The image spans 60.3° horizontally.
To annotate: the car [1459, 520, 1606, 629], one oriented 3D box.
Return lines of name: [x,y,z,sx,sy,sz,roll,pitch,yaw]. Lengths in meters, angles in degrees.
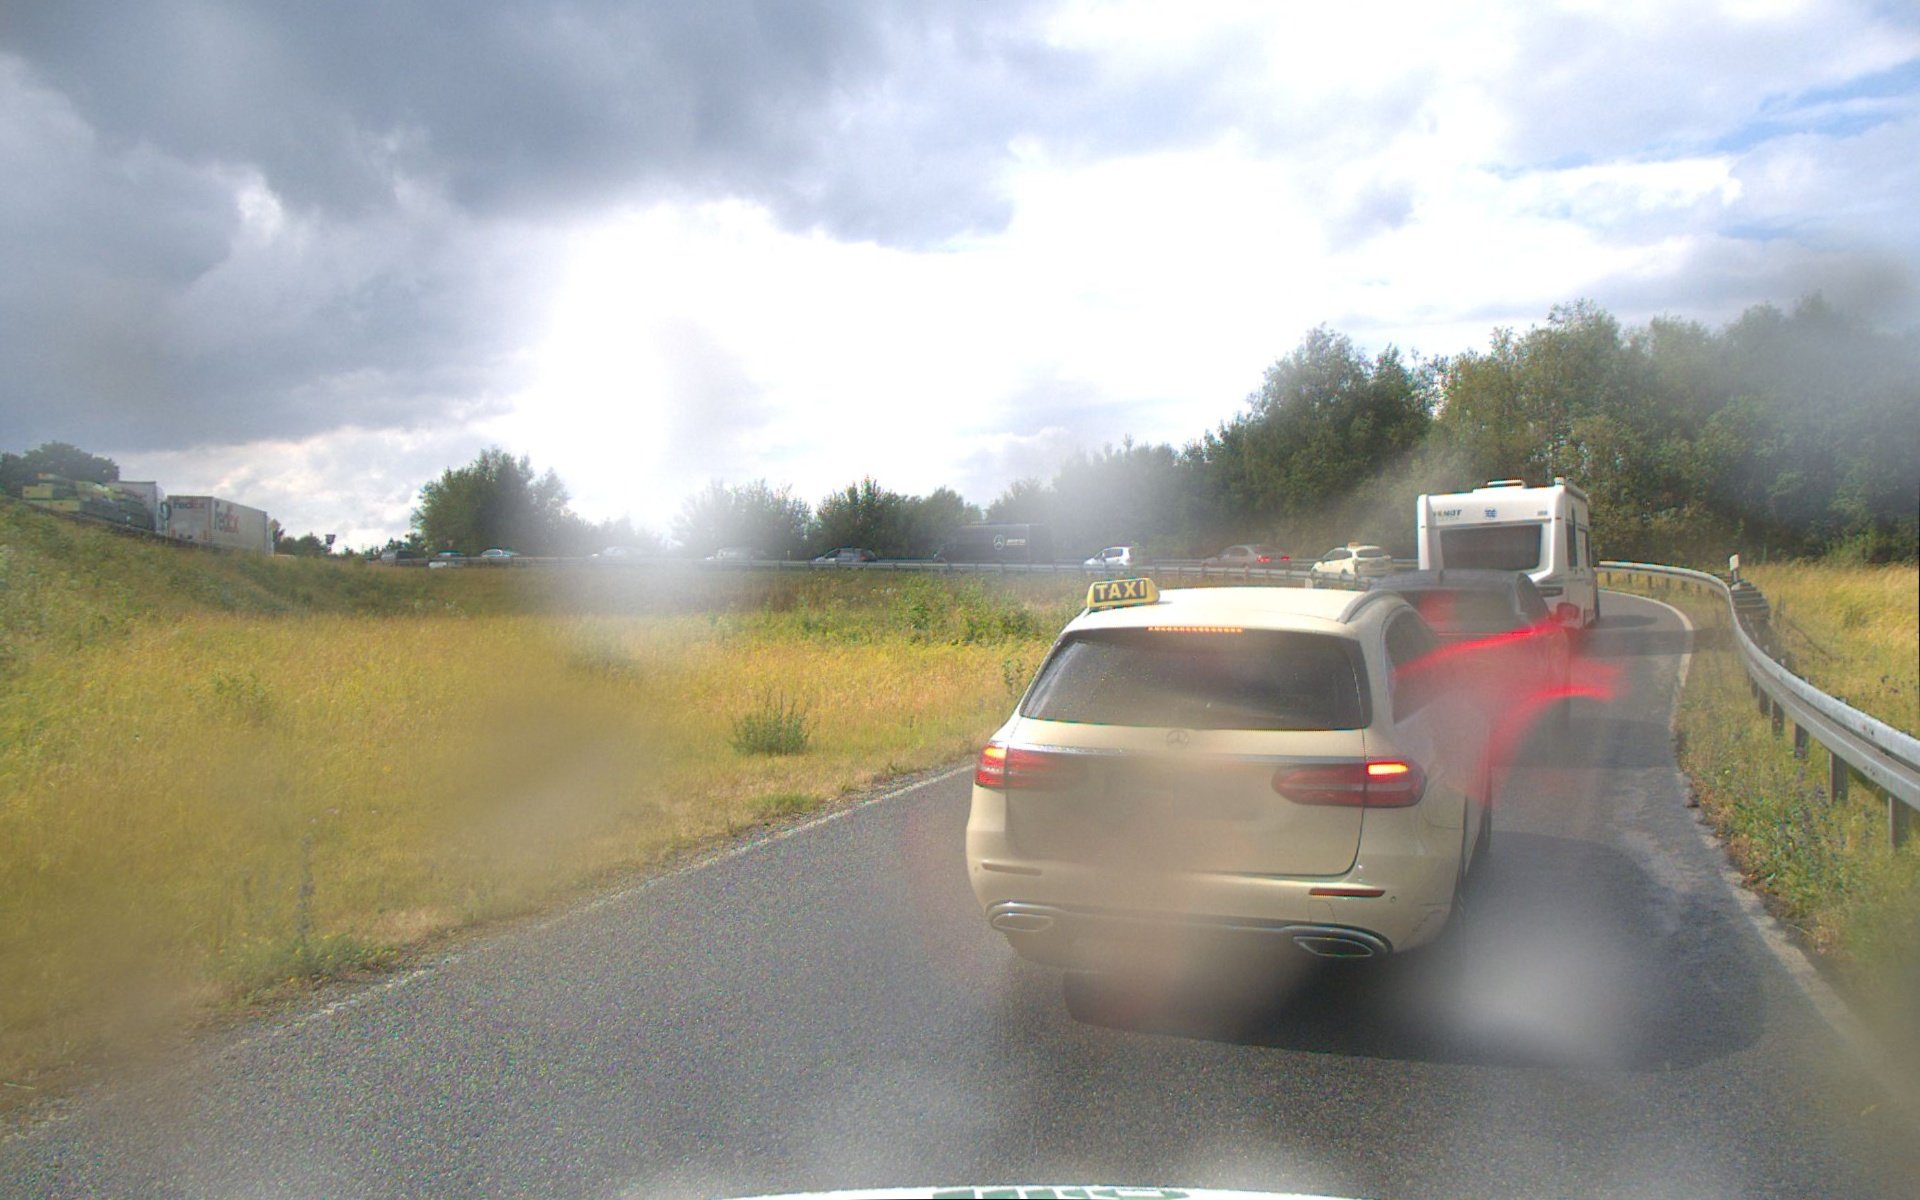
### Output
car: [11.558,-0.587,33.135,2.379,1.959,5.760,0,2,23]

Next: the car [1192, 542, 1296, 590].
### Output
car: [12.381,-1.471,72.404,1.968,1.894,5.017,-2,-1,-25]

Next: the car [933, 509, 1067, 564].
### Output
car: [2.043,-3.323,87.265,6.859,2.640,2.858,0,1,42]

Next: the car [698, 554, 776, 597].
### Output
car: [-13.065,-1.442,96.960,3.910,2.047,1.999,-5,4,28]

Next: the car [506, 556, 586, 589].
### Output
car: [-26.097,-1.695,104.373,4.400,1.894,2.002,-2,-1,12]

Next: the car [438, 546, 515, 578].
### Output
car: [-32.203,-2.504,110.201,4.945,1.894,1.997,-2,-1,29]

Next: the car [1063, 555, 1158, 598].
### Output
car: [7.354,-1.121,81.333,1.976,1.894,4.998,-1,-1,-33]

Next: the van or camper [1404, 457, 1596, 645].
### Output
van or camper: [9.199,-0.759,27.777,2.382,2.777,5.997,0,0,25]

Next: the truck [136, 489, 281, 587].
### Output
truck: [-46.382,-3.566,103.012,4.383,4.582,19.307,0,-2,-13]

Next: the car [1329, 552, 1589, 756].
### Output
car: [4.569,0.417,14.761,1.683,1.551,3.998,-2,0,24]

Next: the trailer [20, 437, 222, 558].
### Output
trailer: [-42.004,-4.849,84.043,4.337,4.025,20.147,0,-2,-13]

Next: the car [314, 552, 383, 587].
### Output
car: [-37.839,-1.888,102.422,3.926,2.049,1.817,0,-3,-19]

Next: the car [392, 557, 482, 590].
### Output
car: [-32.631,-1.639,103.252,4.933,1.894,2.002,-2,-1,8]

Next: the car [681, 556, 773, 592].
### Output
car: [-13.652,-1.512,96.909,4.936,1.894,2.000,-2,-1,20]

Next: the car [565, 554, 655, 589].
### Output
car: [-21.082,-1.709,99.636,4.936,1.894,2.000,-2,-1,20]

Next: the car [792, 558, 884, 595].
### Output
car: [-6.888,-1.292,93.303,4.952,1.894,1.994,-2,-1,34]

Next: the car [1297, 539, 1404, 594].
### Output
car: [14.681,-1.232,62.533,1.958,1.893,5.044,-4,1,-11]

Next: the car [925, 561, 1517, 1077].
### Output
car: [1.532,0.629,7.644,1.876,1.533,4.598,1,2,19]
